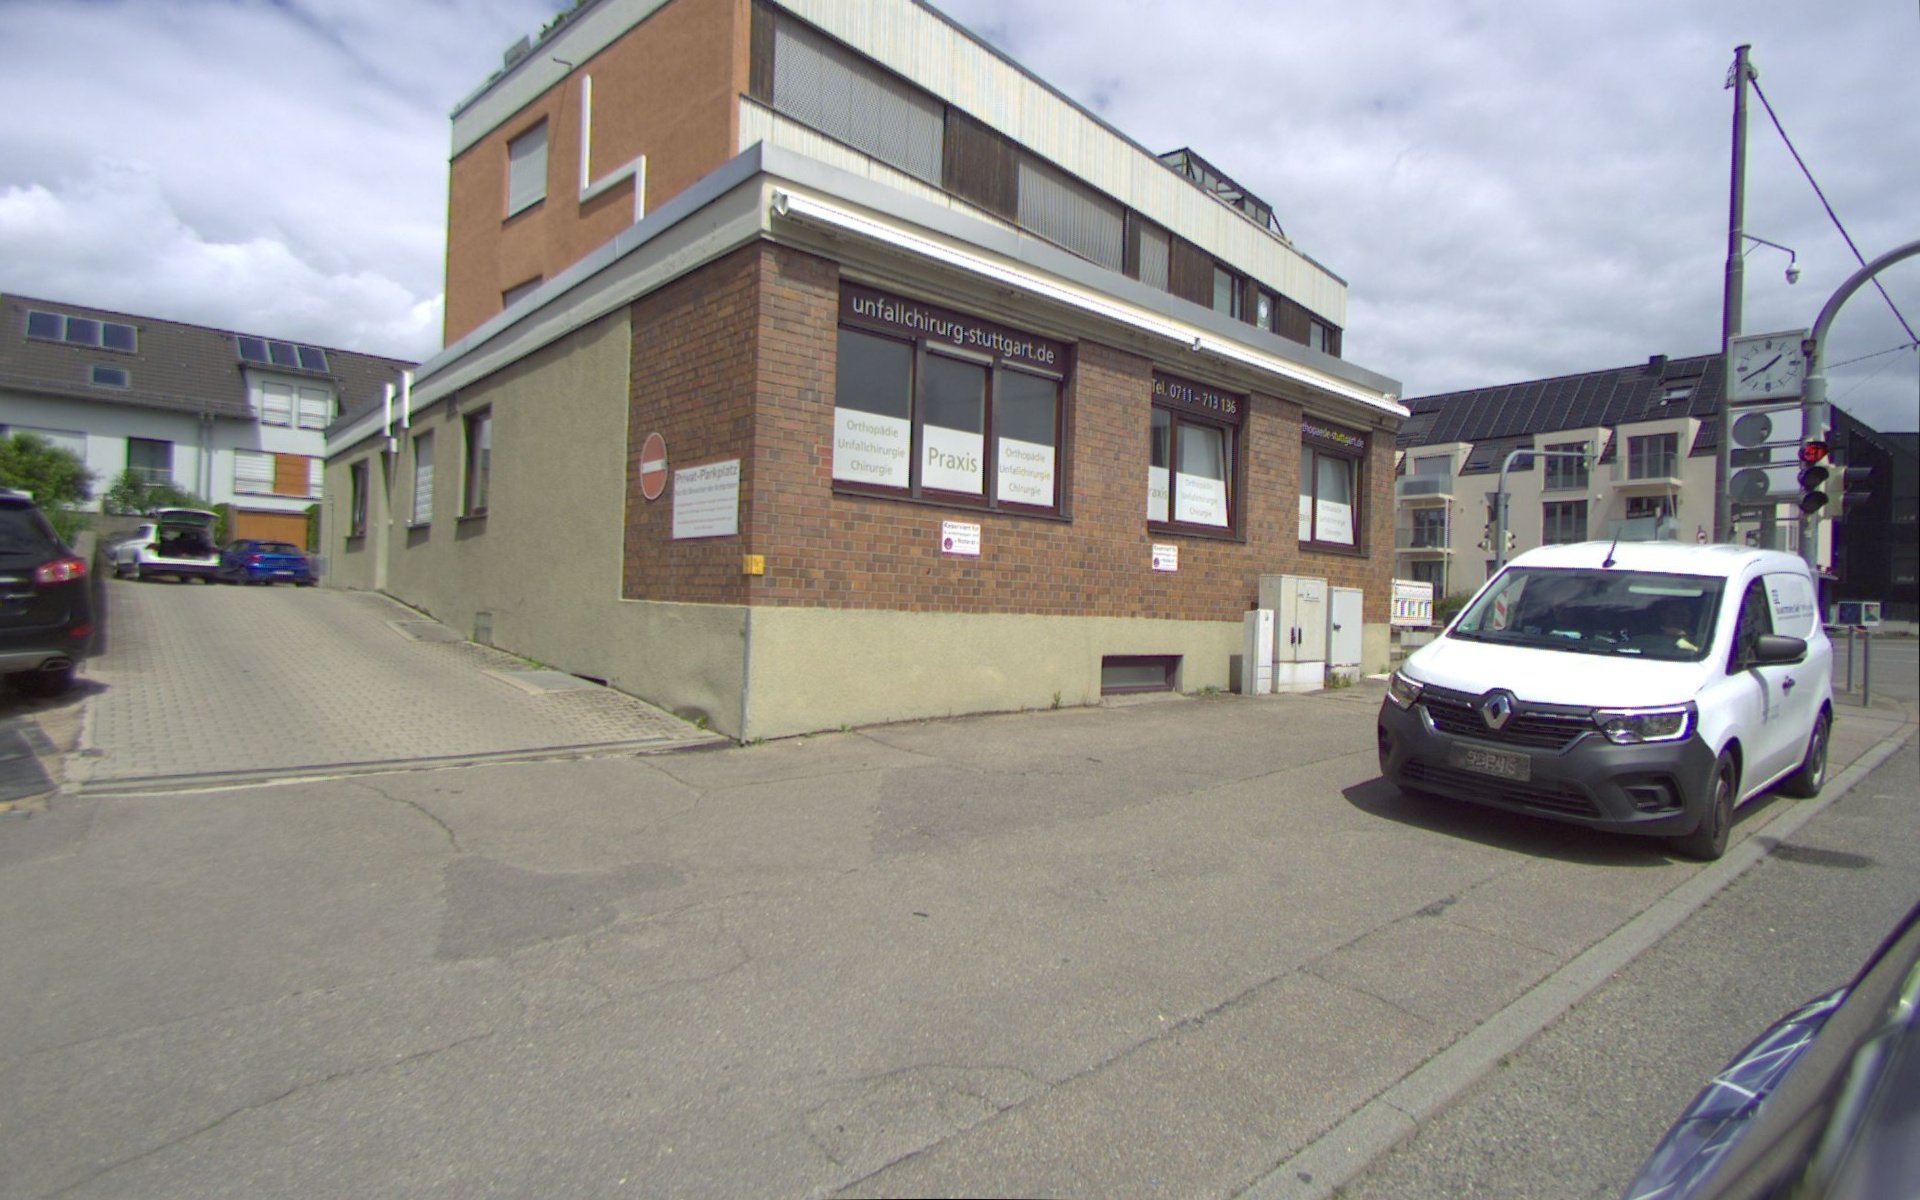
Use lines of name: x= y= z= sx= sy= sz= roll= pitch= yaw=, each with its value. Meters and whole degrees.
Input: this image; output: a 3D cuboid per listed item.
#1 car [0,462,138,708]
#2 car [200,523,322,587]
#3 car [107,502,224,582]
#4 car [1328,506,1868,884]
car: x=-8.651 y=-0.249 z=8.276 sx=3.749 sy=1.800 sz=1.897 roll=5 pitch=4 yaw=32
car: x=-21.466 y=-1.365 z=31.048 sx=3.977 sy=1.838 sz=1.920 roll=2 pitch=1 yaw=37
car: x=-22.420 y=-1.586 z=28.511 sx=4.189 sy=2.071 sz=1.916 roll=2 pitch=2 yaw=42
car: x=4.608 y=0.392 z=7.021 sx=4.412 sy=1.816 sz=1.915 roll=0 pitch=3 yaw=-41
